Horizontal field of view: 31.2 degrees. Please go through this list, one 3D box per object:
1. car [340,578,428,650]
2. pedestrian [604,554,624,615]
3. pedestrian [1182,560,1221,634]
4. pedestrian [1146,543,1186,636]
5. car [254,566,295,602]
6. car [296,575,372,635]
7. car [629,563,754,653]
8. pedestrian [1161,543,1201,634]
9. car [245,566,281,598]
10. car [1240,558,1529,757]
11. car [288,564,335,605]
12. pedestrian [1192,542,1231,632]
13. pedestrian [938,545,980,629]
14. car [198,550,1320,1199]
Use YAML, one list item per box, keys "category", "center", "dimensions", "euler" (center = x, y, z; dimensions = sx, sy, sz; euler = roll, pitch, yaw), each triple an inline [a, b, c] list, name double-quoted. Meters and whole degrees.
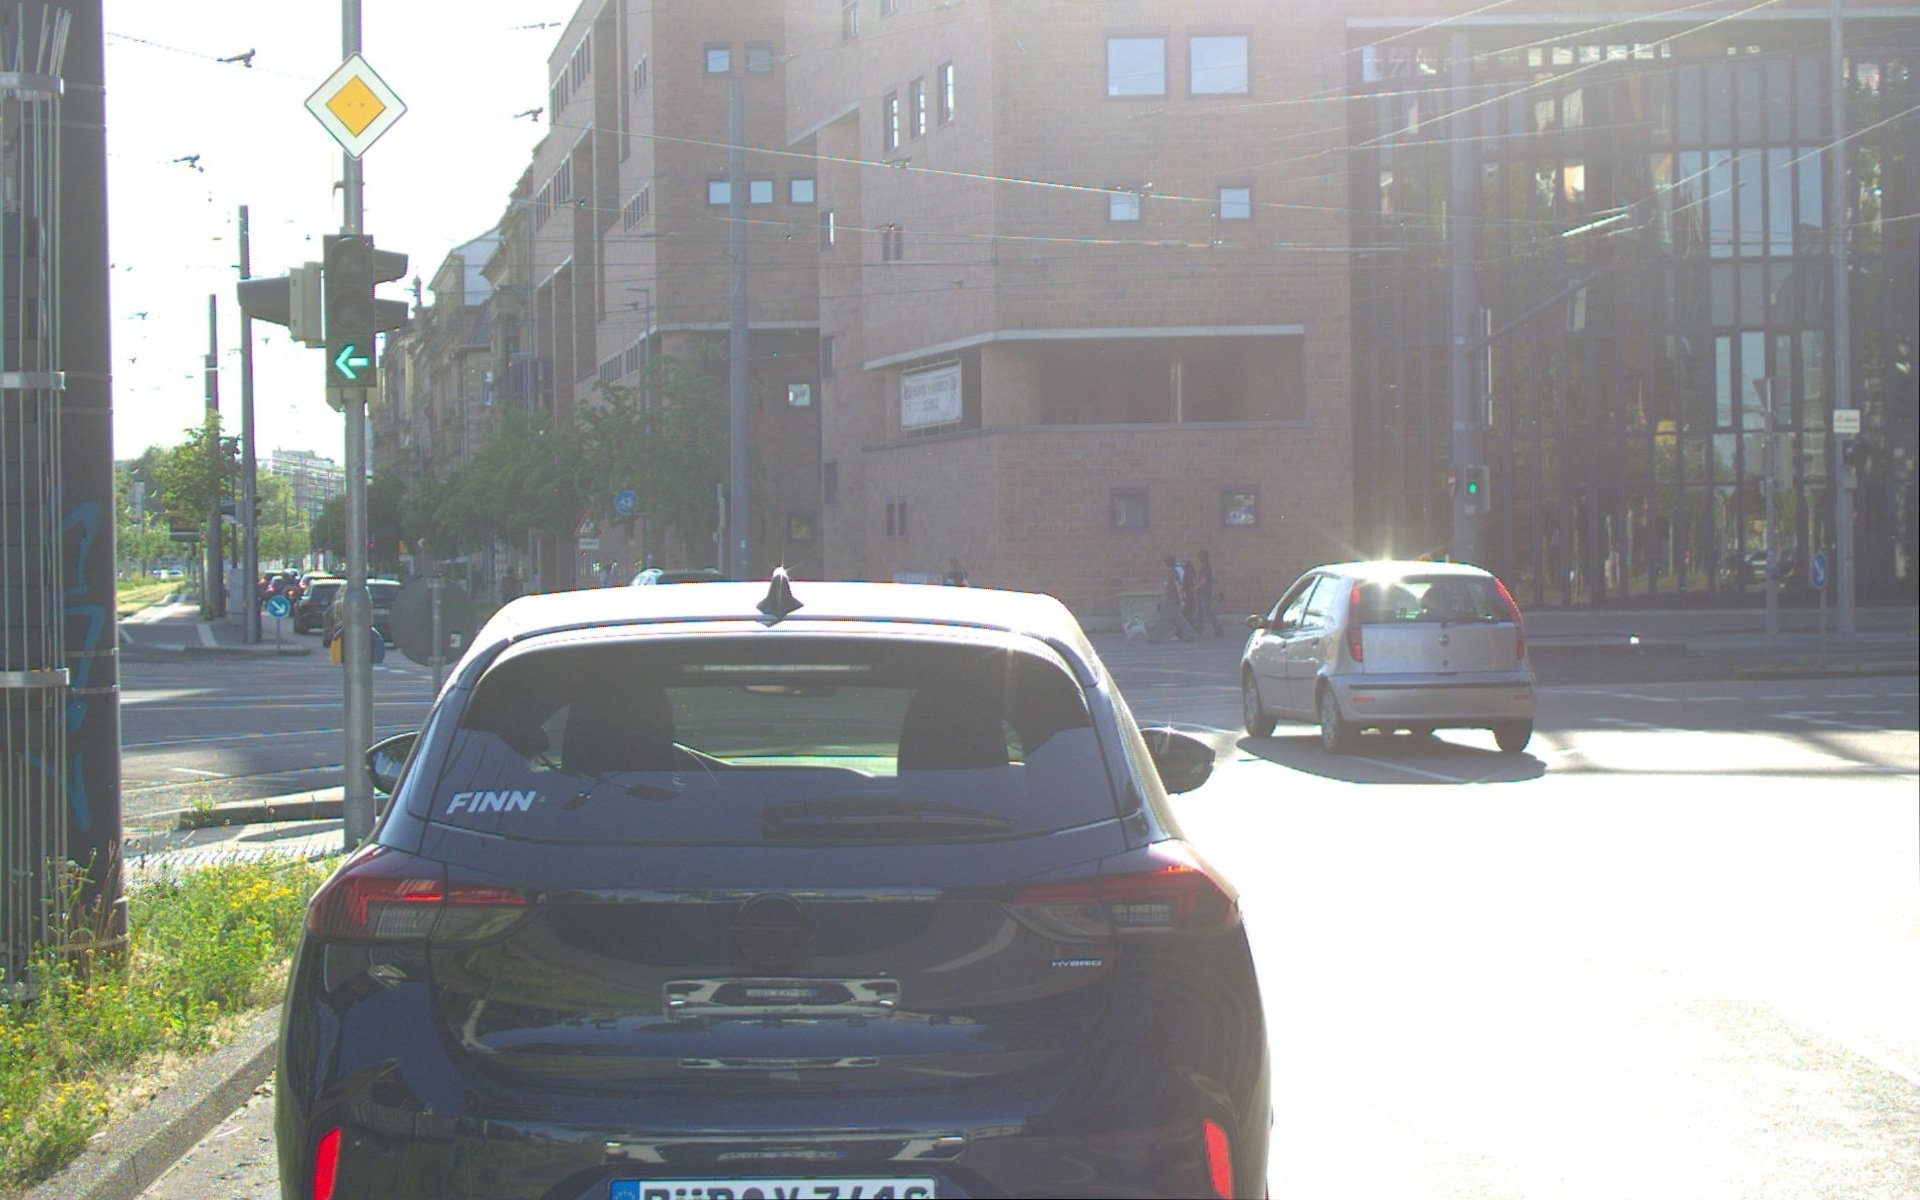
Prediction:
- category: "car"
  center: [-12.463, 0.290, 74.244]
  dimensions: [1.720, 1.448, 3.699]
  euler: [-2, 1, -11]
- category: "pedestrian"
  center: [-10.321, -0.458, 102.425]
  dimensions: [0.547, 1.780, 0.573]
  euler: [-1, 3, -8]
- category: "pedestrian"
  center: [4.866, -0.066, 69.408]
  dimensions: [0.547, 1.472, 0.573]
  euler: [-2, 2, -29]
- category: "pedestrian"
  center: [4.020, -0.209, 67.165]
  dimensions: [0.571, 1.780, 0.549]
  euler: [-2, 1, -19]
- category: "car"
  center: [-28.878, -0.679, 144.727]
  dimensions: [1.514, 1.448, 3.585]
  euler: [-2, 1, -13]
- category: "car"
  center: [-16.241, 0.108, 89.123]
  dimensions: [1.720, 1.448, 3.699]
  euler: [-2, 1, -13]
- category: "car"
  center: [-4.627, 0.115, 58.931]
  dimensions: [1.670, 1.448, 3.699]
  euler: [-2, 1, -11]
- category: "pedestrian"
  center: [4.368, -0.233, 67.907]
  dimensions: [0.571, 1.780, 0.549]
  euler: [-2, 1, -19]
- category: "car"
  center: [-32.178, -0.841, 158.662]
  dimensions: [1.514, 1.448, 3.585]
  euler: [-2, 1, -13]
- category: "car"
  center: [3.320, 0.408, 27.458]
  dimensions: [1.559, 1.451, 3.432]
  euler: [-1, 1, -6]
- category: "car"
  center: [-23.846, -0.576, 126.321]
  dimensions: [1.514, 1.448, 3.585]
  euler: [-2, 1, -13]
- category: "pedestrian"
  center: [5.012, -0.256, 68.518]
  dimensions: [0.571, 1.780, 0.549]
  euler: [-2, 1, -19]
- category: "pedestrian"
  center: [-0.023, -0.285, 74.279]
  dimensions: [0.640, 1.780, 0.688]
  euler: [-2, 1, -22]
- category: "car"
  center: [-0.324, 0.658, 6.997]
  dimensions: [1.672, 1.496, 3.691]
  euler: [1, 1, -1]
